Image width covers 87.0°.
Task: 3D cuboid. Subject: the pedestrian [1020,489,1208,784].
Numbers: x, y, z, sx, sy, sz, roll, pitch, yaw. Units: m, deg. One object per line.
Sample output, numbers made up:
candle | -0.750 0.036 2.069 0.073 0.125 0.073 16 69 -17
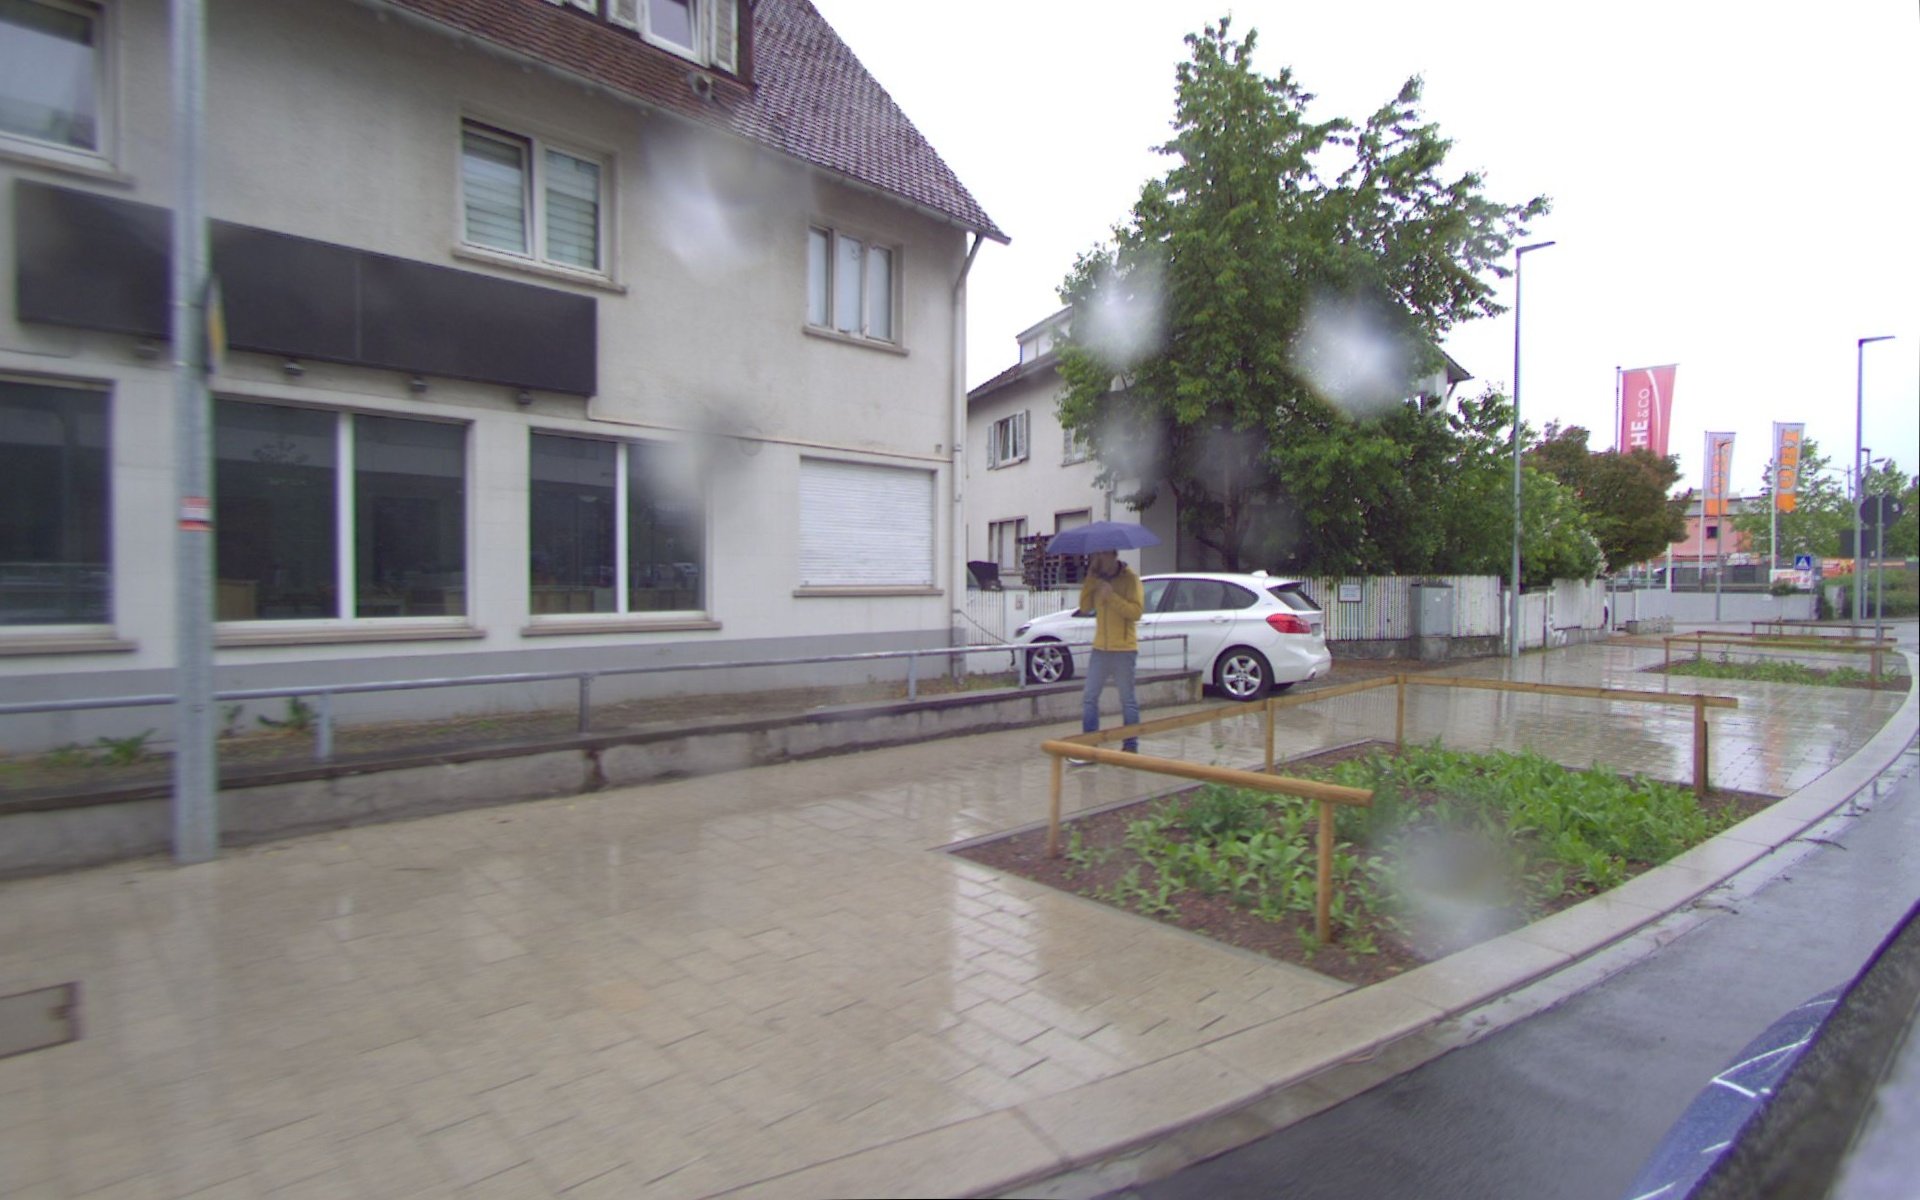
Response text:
pedestrian | 1.184 0.229 7.728 0.859 2.038 1.176 3 3 44

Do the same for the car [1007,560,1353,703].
car | 2.910 0.305 13.596 4.112 1.600 1.977 2 2 33

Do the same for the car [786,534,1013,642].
car | -1.387 -0.327 21.630 4.841 2.045 2.089 3 2 43

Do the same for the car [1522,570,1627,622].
car | 21.509 -0.130 35.368 4.094 1.712 1.845 0 0 -38
